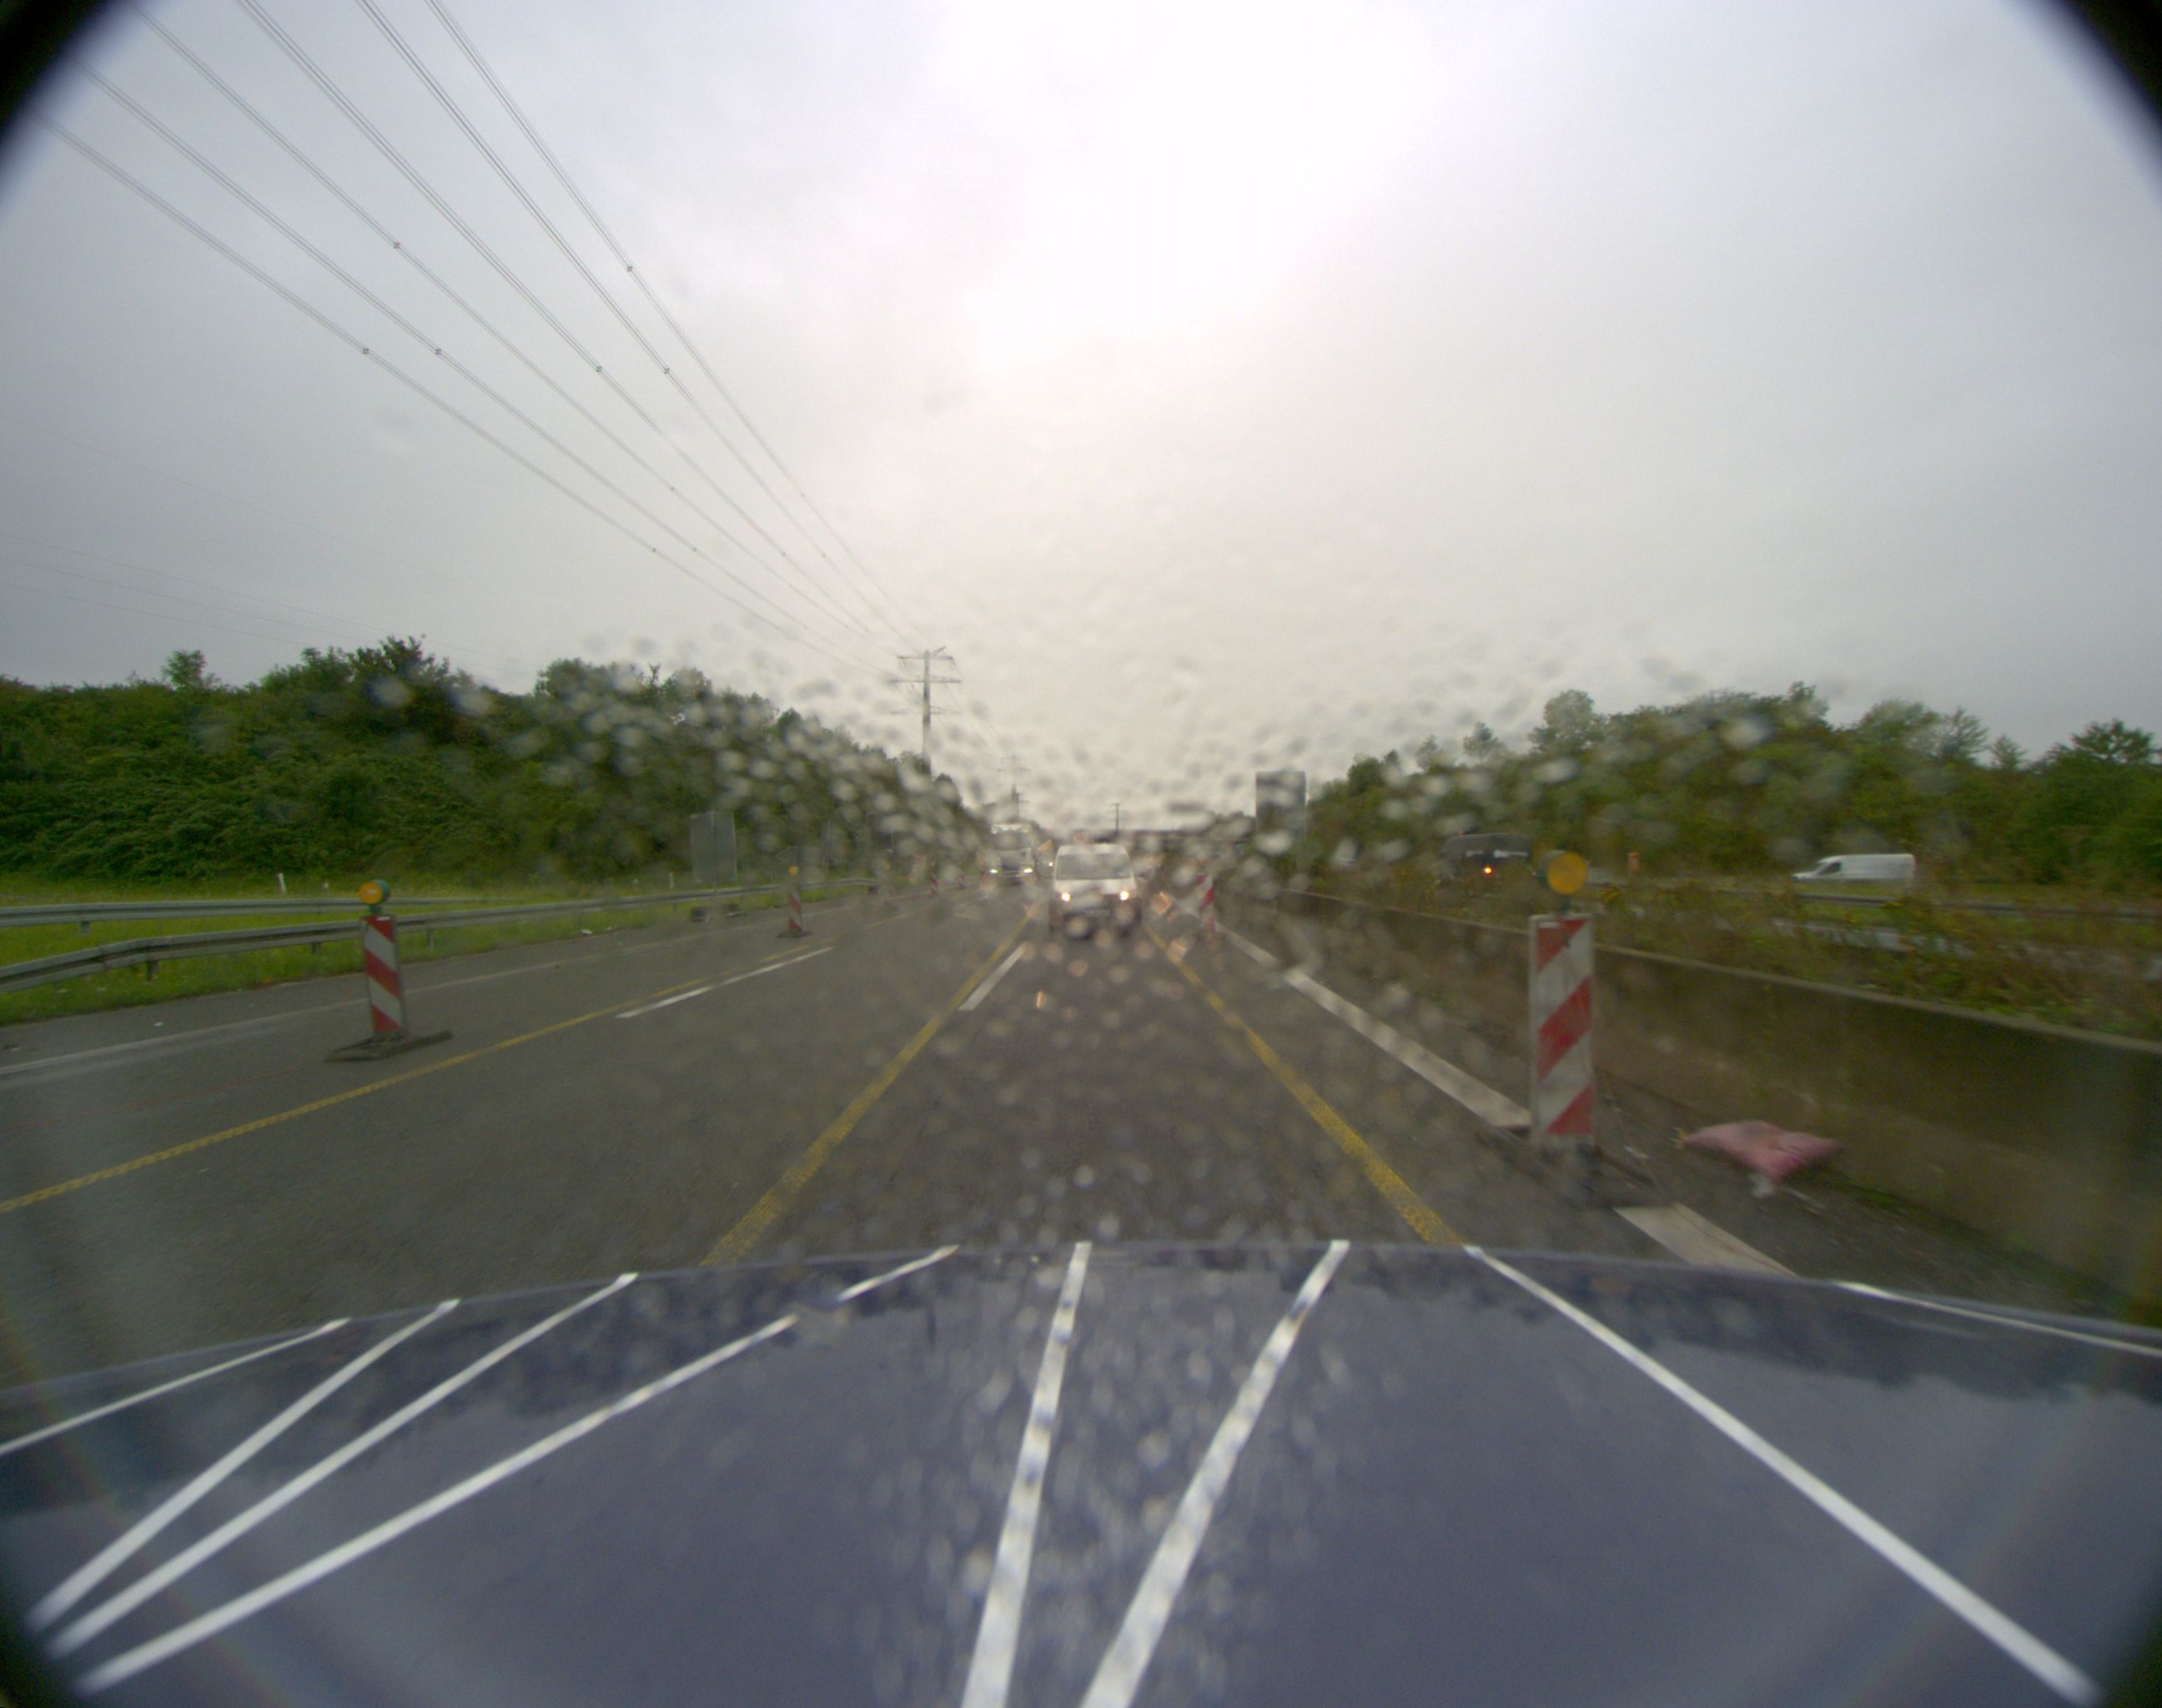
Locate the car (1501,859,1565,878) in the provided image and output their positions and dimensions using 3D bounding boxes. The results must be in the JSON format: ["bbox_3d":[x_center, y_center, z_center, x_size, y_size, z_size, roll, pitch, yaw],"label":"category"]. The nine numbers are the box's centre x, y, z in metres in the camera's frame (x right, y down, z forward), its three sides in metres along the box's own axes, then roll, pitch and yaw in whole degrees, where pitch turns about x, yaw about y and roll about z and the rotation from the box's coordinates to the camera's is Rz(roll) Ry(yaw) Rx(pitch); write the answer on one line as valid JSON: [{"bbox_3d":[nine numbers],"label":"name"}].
[{"bbox_3d":[35.289,1.120,59.361,3.988,1.395,1.924,1,1,45],"label":"car"}]

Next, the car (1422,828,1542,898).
[{"bbox_3d":[16.742,0.305,32.155,2.055,2.594,5.846,-2,1,2],"label":"car"}]

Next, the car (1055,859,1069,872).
[{"bbox_3d":[-3.210,1.936,128.778,1.998,2.002,3.999,-2,1,1],"label":"car"}]

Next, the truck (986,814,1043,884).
[{"bbox_3d":[-3.920,-0.329,45.940,2.748,3.912,5.396,-2,1,0],"label":"truck"}]

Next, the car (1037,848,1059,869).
[{"bbox_3d":[-3.390,0.423,78.842,1.998,2.002,3.999,-2,1,1],"label":"car"}]

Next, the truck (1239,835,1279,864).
[{"bbox_3d":[23.368,-0.540,100.726,2.897,3.598,14.585,0,0,4],"label":"truck"}]

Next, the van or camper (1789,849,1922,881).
[{"bbox_3d":[51.209,0.671,50.392,5.833,2.002,2.003,0,1,19],"label":"van or camper"}]

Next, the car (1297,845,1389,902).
[{"bbox_3d":[10.105,0.678,29.713,1.998,1.947,4.671,-2,1,0],"label":"car"}]

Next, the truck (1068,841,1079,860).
[{"bbox_3d":[-1.716,-0.864,175.122,2.276,3.684,6.650,-2,5,1],"label":"truck"}]

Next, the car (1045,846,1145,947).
[{"bbox_3d":[0.228,0.773,16.206,1.770,1.774,4.647,-2,0,-1],"label":"car"}]

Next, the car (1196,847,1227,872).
[{"bbox_3d":[10.863,0.420,63.571,1.772,2.002,5.254,-2,1,2],"label":"car"}]

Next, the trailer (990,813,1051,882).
[{"bbox_3d":[-3.878,-0.480,52.067,2.808,3.980,14.147,-2,1,0],"label":"trailer"}]
